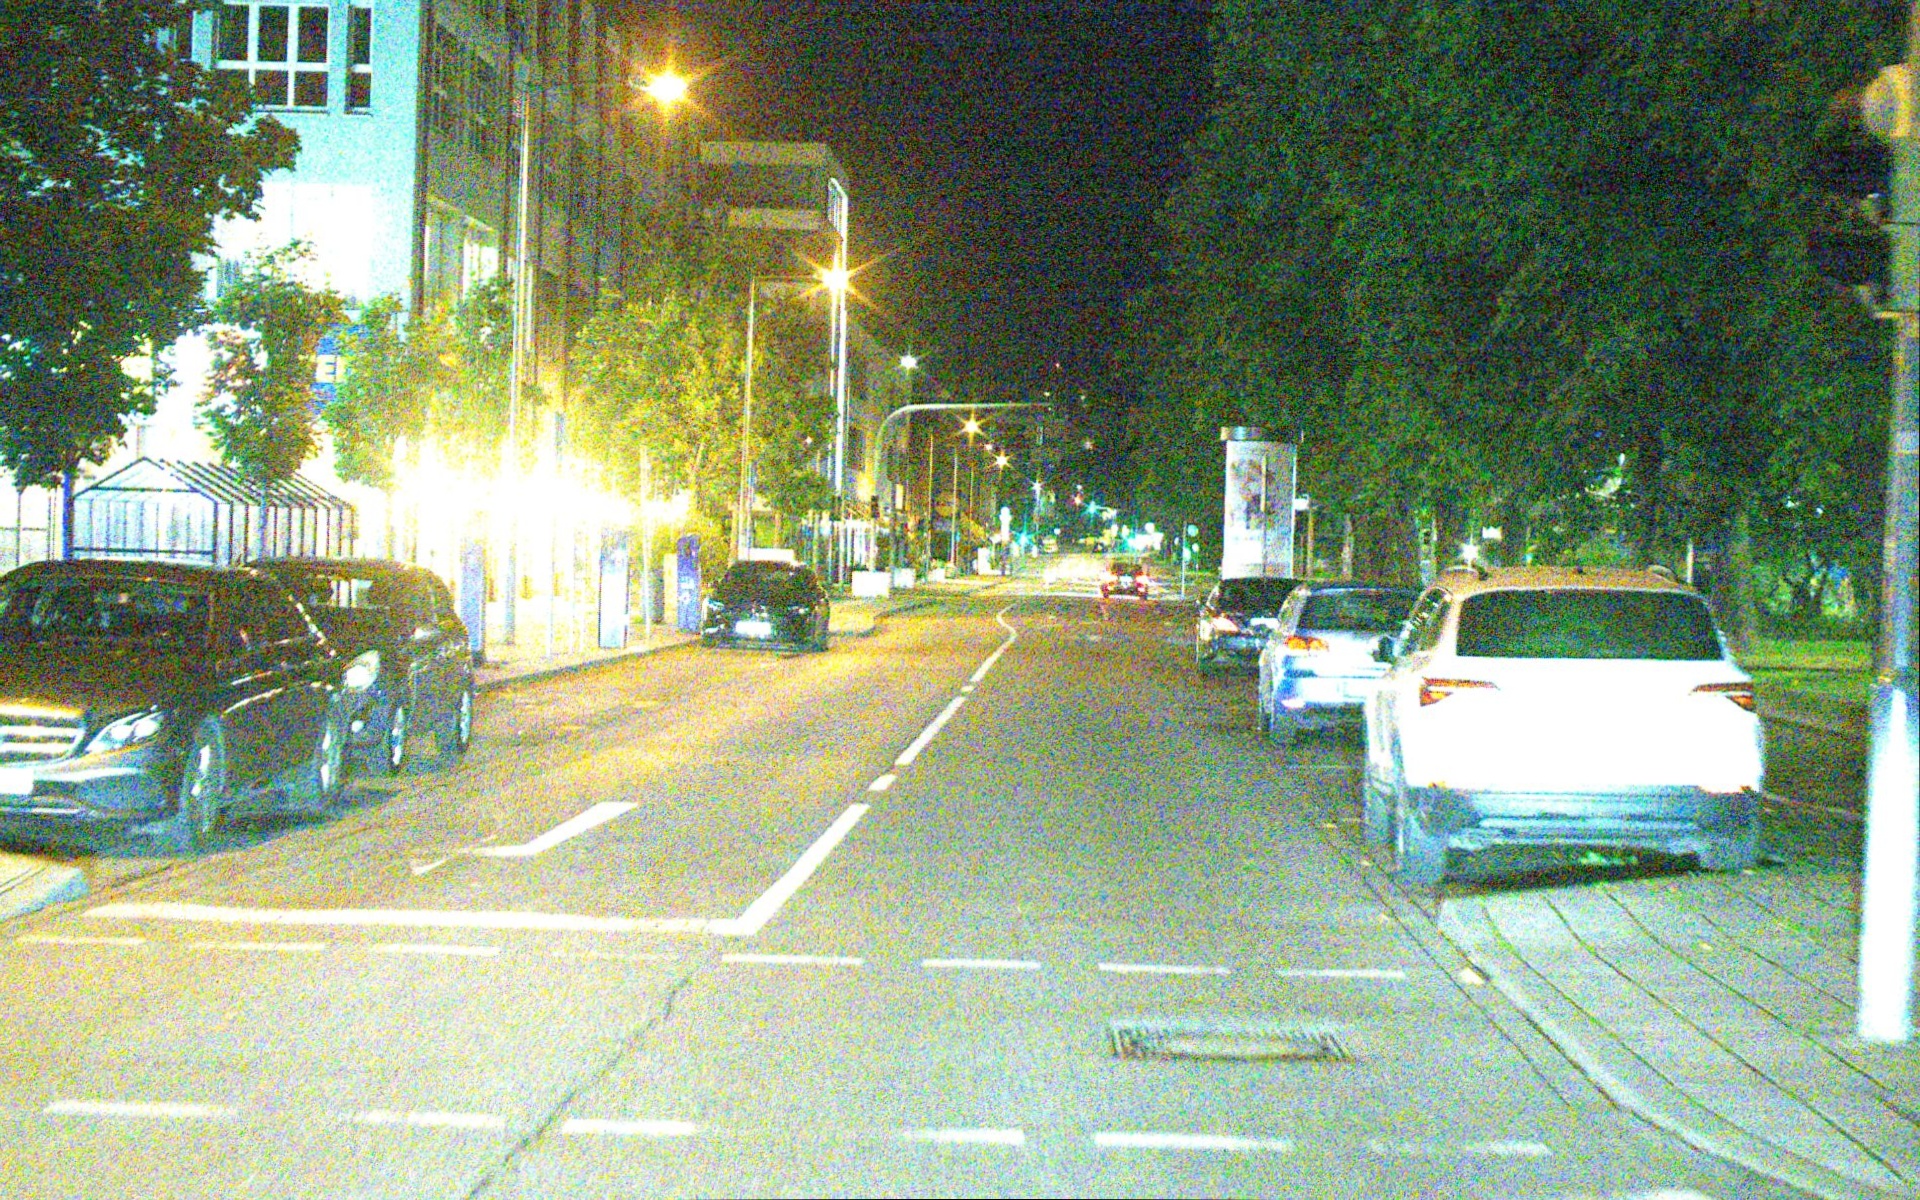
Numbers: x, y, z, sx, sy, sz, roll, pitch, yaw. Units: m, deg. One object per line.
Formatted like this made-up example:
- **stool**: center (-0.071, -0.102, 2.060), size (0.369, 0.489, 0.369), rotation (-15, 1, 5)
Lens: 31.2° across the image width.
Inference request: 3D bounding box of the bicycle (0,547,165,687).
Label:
- **bicycle**: center (-7.225, 0.112, 26.871), size (1.851, 0.996, 0.532), rotation (4, 1, 2)

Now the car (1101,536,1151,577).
- **car**: center (6.849, -1.814, 142.391), size (1.993, 1.637, 4.000), rotation (1, 1, 2)

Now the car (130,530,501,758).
- **car**: center (-4.595, 0.254, 25.065), size (1.722, 1.423, 3.976), rotation (4, 1, 2)

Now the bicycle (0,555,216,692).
- **bicycle**: center (-7.275, 0.192, 28.931), size (1.851, 1.031, 0.532), rotation (3, 1, 2)

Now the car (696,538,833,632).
- **car**: center (-3.205, -0.282, 57.123), size (1.741, 1.408, 4.495), rotation (3, 1, 3)

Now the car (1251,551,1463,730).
- **car**: center (3.627, 0.330, 31.988), size (1.690, 1.531, 4.015), rotation (0, 1, 3)

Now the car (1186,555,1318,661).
- **car**: center (4.263, 0.078, 50.718), size (1.764, 1.409, 4.807), rotation (1, 1, 3)

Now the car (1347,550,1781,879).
- **car**: center (3.098, 0.515, 18.409), size (1.770, 1.531, 4.216), rotation (0, 1, 3)

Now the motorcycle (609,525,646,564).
- **motorcycle**: center (-9.080, -1.517, 93.899), size (0.478, 1.017, 1.674), rotation (2, 1, 13)

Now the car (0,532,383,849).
- **car**: center (-4.658, 0.390, 19.119), size (1.807, 1.420, 4.921), rotation (4, 1, 2)
